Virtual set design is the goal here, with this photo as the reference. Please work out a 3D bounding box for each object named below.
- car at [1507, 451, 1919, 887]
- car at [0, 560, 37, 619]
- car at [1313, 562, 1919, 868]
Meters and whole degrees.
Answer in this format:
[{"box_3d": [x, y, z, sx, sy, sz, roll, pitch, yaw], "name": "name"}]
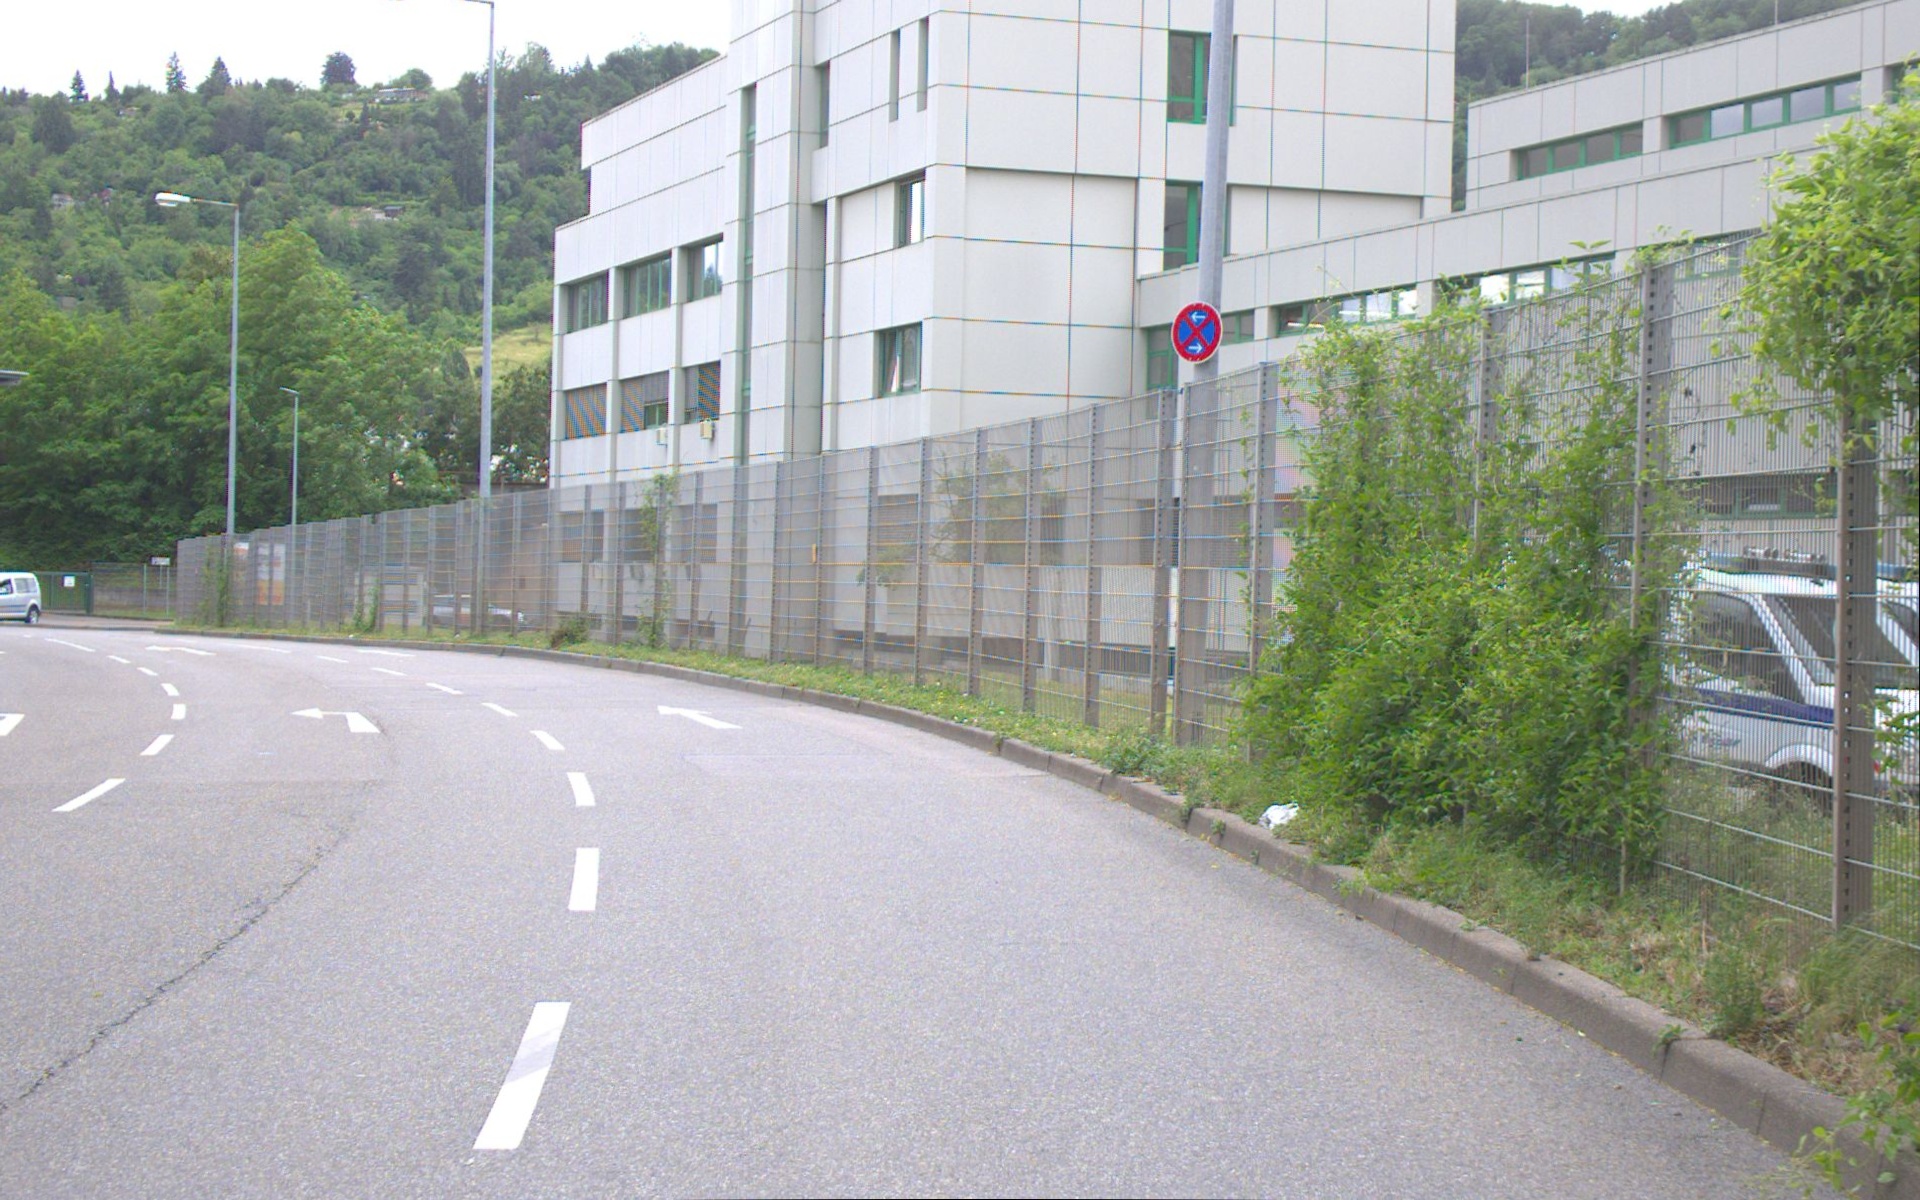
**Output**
[{"box_3d": [4.369, 0.369, 18.461, 1.993, 2.007, 4.846, 2, -1, -1], "name": "car"}, {"box_3d": [-33.629, -0.397, 118.495, 1.994, 2.007, 4.130, 2, 0, 8], "name": "car"}, {"box_3d": [5.857, 0.863, 28.735, 1.994, 2.255, 6.168, 2, -1, -38], "name": "car"}]
